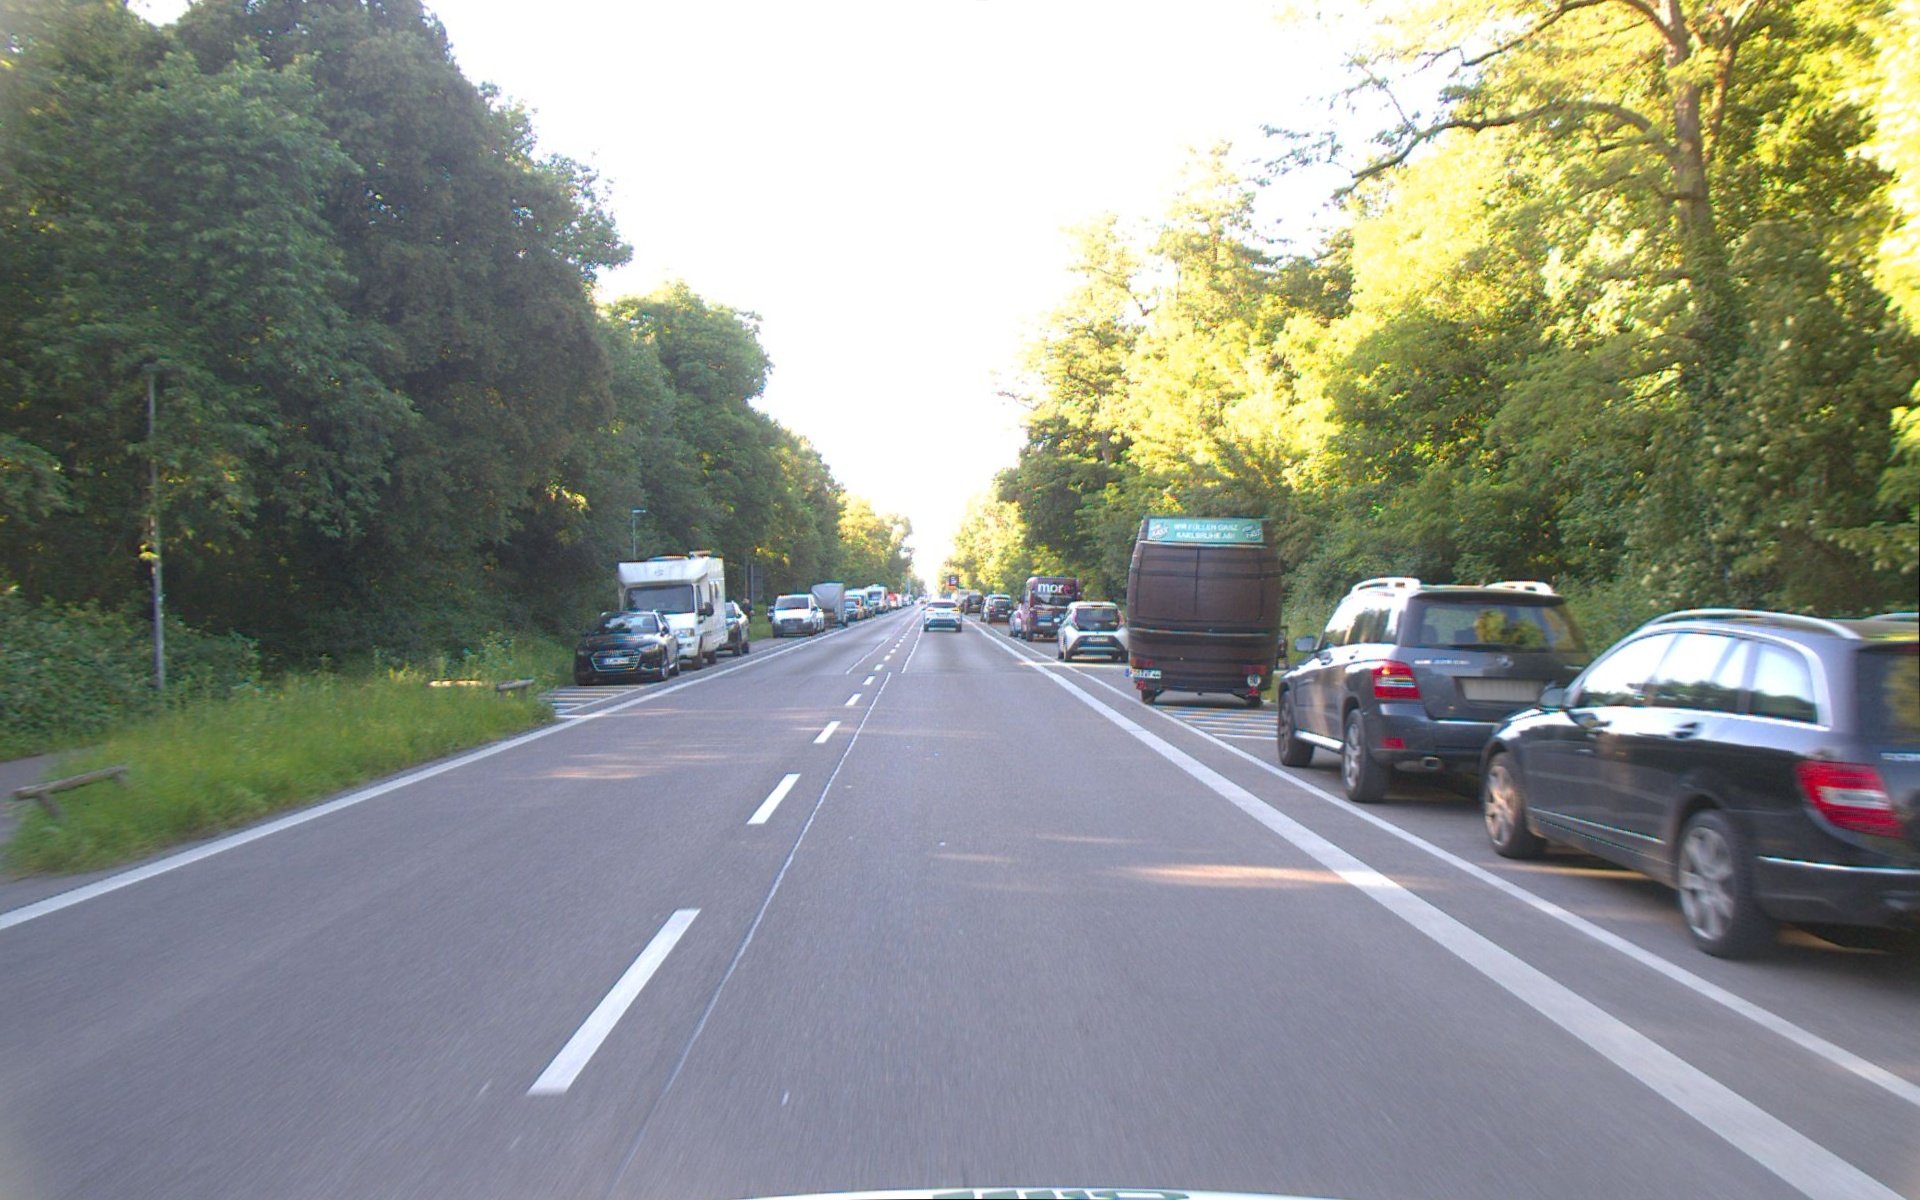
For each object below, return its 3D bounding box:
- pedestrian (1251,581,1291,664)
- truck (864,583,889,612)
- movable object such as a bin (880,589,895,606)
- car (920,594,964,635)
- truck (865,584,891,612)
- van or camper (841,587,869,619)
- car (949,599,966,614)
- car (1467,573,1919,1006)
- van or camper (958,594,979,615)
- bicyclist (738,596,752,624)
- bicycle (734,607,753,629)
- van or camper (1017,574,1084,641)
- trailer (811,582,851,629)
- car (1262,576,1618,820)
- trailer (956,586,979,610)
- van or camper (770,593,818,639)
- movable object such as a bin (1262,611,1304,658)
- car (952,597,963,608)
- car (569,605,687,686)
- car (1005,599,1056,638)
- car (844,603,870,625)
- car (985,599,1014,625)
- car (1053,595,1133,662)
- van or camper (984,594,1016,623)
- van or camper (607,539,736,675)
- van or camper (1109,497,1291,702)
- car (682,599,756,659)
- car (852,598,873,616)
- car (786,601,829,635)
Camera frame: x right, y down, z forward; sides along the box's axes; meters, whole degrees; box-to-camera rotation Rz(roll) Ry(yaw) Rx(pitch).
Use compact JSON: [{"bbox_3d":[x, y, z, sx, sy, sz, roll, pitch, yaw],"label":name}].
[{"bbox_3d":[7.431,0.530,39.561,0.752,1.951,0.919,-1,0,-1],"label":"pedestrian"},{"bbox_3d":[-10.216,-0.323,203.197,2.652,3.406,10.921,-1,0,-1],"label":"truck"},{"bbox_3d":[-10.992,-0.324,251.016,2.275,2.545,3.999,-1,0,-1],"label":"movable object such as a bin"},{"bbox_3d":[-0.846,0.680,78.737,1.987,1.872,4.028,-1,0,-1],"label":"car"},{"bbox_3d":[-9.502,-0.234,191.716,2.652,3.148,7.987,-1,0,-1],"label":"truck"},{"bbox_3d":[-9.175,0.252,144.851,2.077,2.617,6.541,-1,0,-1],"label":"van or camper"},{"bbox_3d":[-0.267,0.715,185.895,1.803,1.691,4.000,-1,0,0],"label":"car"},{"bbox_3d":[4.121,0.706,8.398,1.677,1.596,4.551,1,0,0],"label":"car"},{"bbox_3d":[0.859,0.438,162.942,1.953,1.966,5.198,0,0,-1],"label":"van or camper"},{"bbox_3d":[-10.621,0.482,81.550,0.592,1.398,0.799,0,0,-1],"label":"bicyclist"},{"bbox_3d":[-10.634,0.885,81.380,0.638,1.026,2.396,0,0,-1],"label":"bicycle"},{"bbox_3d":[3.369,0.264,62.990,1.994,2.352,6.039,-2,0,-2],"label":"van or camper"},{"bbox_3d":[-7.690,0.299,98.960,1.953,2.643,4.415,-3,0,-1],"label":"trailer"},{"bbox_3d":[3.814,0.683,13.987,1.677,1.694,4.551,1,0,0],"label":"car"},{"bbox_3d":[0.928,-0.243,207.925,2.701,2.920,6.587,-1,0,-1],"label":"trailer"},{"bbox_3d":[-7.621,0.712,76.165,1.798,1.945,4.854,-2,0,-2],"label":"van or camper"},{"bbox_3d":[7.483,0.797,38.359,0.773,1.065,0.986,-1,0,-1],"label":"movable object such as a bin"},{"bbox_3d":[-0.344,0.369,243.840,1.622,1.504,3.753,-1,0,-1],"label":"car"},{"bbox_3d":[-6.880,0.899,34.720,1.791,1.501,4.677,-2,0,-4],"label":"car"},{"bbox_3d":[2.946,0.745,69.725,1.712,1.542,3.998,-2,0,-3],"label":"car"},{"bbox_3d":[-7.795,1.057,125.872,1.696,1.503,4.323,-3,0,-1],"label":"car"},{"bbox_3d":[2.441,0.717,103.055,1.656,1.551,4.148,1,0,-1],"label":"car"},{"bbox_3d":[3.321,0.672,41.833,1.677,1.572,4.022,1,0,0],"label":"car"},{"bbox_3d":[2.634,0.541,109.703,1.911,1.847,4.380,0,0,-1],"label":"van or camper"},{"bbox_3d":[-7.177,0.153,41.937,2.269,3.021,7.106,-3,0,-3],"label":"van or camper"},{"bbox_3d":[4.030,-0.030,26.622,2.389,2.848,6.562,-1,0,12],"label":"van or camper"},{"bbox_3d":[-7.293,0.846,50.353,1.612,1.660,4.272,-3,0,-1],"label":"car"},{"bbox_3d":[-9.182,0.636,155.817,1.745,1.713,4.377,-1,0,-1],"label":"car"},{"bbox_3d":[-7.621,0.891,82.869,1.739,1.567,4.523,-3,0,-1],"label":"car"}]
